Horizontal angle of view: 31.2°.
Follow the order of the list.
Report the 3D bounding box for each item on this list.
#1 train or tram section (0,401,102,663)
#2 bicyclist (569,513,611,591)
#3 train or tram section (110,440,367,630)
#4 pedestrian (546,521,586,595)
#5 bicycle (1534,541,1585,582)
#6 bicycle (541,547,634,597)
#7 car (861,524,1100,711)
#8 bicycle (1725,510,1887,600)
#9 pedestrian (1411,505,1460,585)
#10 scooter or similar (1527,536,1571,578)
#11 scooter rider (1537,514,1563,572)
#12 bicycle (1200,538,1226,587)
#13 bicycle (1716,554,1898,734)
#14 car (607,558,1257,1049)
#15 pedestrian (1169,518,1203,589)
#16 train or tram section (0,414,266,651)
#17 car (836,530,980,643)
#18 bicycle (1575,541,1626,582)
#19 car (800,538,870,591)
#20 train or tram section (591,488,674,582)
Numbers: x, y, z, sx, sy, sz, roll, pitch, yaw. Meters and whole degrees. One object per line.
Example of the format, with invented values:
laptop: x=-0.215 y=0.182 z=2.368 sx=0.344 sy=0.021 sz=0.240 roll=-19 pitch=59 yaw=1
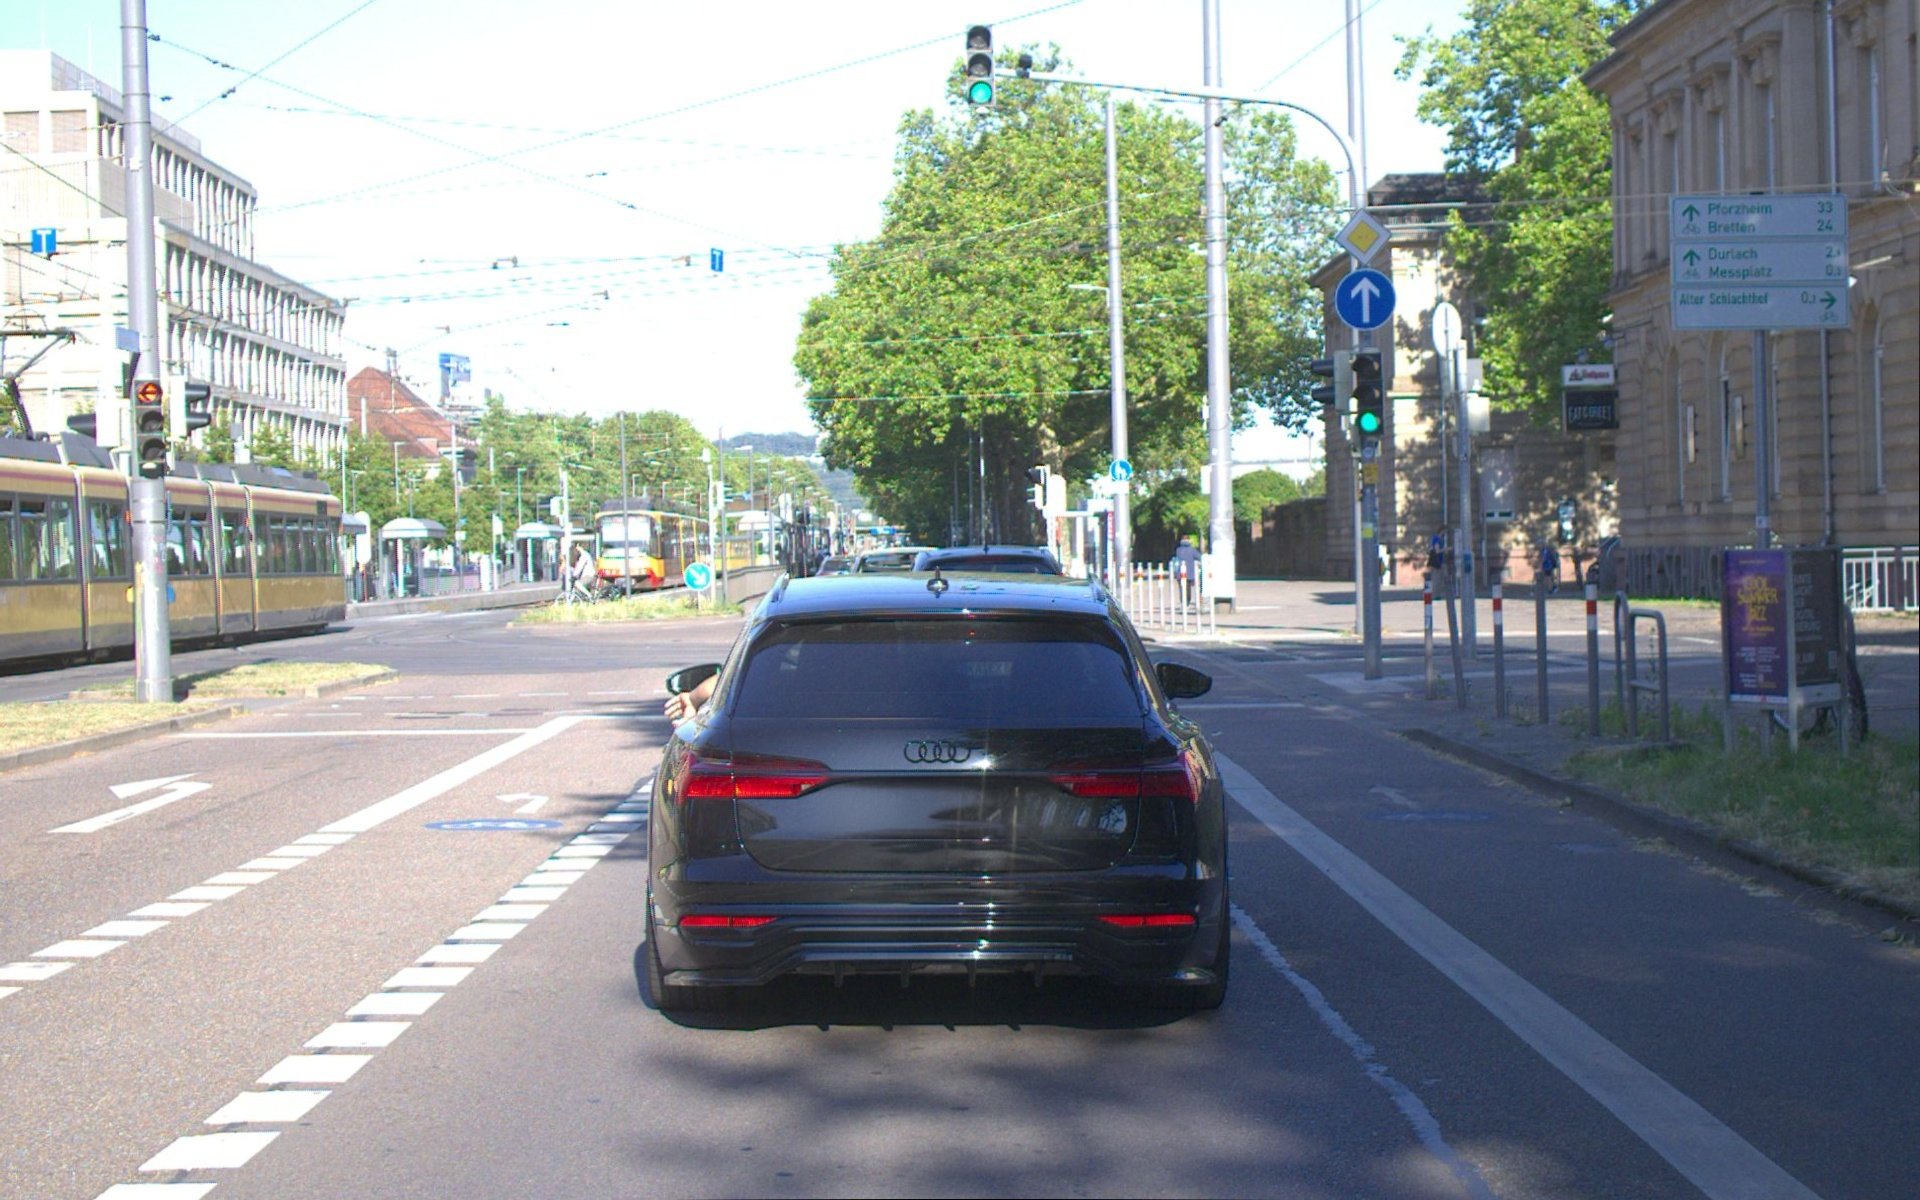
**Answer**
train or tram section: x=-14.099 y=-0.851 z=44.467 sx=2.813 sy=3.477 sz=13.205 roll=-2 pitch=1 yaw=-1
bicyclist: x=-8.691 y=-1.130 z=80.699 sx=0.756 sy=1.812 sz=0.765 roll=-2 pitch=1 yaw=-21
train or tram section: x=-14.540 y=-1.322 z=70.364 sx=2.813 sy=3.477 sz=12.155 roll=-2 pitch=1 yaw=-1
pedestrian: x=-9.404 y=-0.995 z=81.997 sx=0.740 sy=1.735 sz=0.664 roll=-2 pitch=1 yaw=-24
bicycle: x=15.558 y=-1.011 z=89.286 sx=0.526 sy=1.043 sz=2.360 roll=-2 pitch=1 yaw=-9
bicycle: x=-8.743 y=-0.665 z=80.678 sx=2.005 sy=1.104 sz=0.765 roll=-2 pitch=1 yaw=-21
car: x=0.144 y=0.111 z=29.751 sx=1.902 sy=1.481 sz=4.145 roll=1 pitch=1 yaw=-1
bicycle: x=12.424 y=-0.667 z=50.525 sx=2.136 sy=1.205 sz=0.765 roll=-3 pitch=1 yaw=-2
pedestrian: x=11.128 y=-1.288 z=80.528 sx=0.979 sy=1.859 sz=0.827 roll=-2 pitch=1 yaw=-1
scooter or similar: x=14.237 y=-1.040 z=83.132 sx=0.938 sy=0.963 sz=0.361 roll=-3 pitch=0 yaw=-3
scooter rider: x=14.258 y=-1.369 z=83.138 sx=0.484 sy=1.381 sz=0.377 roll=-3 pitch=0 yaw=-3
bicycle: x=5.914 y=-0.883 z=80.356 sx=0.434 sy=1.141 sz=1.340 roll=-2 pitch=1 yaw=-3
bicycle: x=5.256 y=0.251 z=21.421 sx=0.540 sy=1.058 sz=1.772 roll=-2 pitch=1 yaw=-5
car: x=-0.103 y=0.576 z=12.220 sx=1.902 sy=1.417 sz=4.145 roll=1 pitch=1 yaw=-1
pedestrian: x=5.282 y=-1.088 z=80.323 sx=0.682 sy=1.655 sz=0.758 roll=-2 pitch=1 yaw=-3
train or tram section: x=-14.315 y=-1.101 z=57.681 sx=2.813 sy=3.477 sz=13.205 roll=-2 pitch=1 yaw=-1
car: x=-0.719 y=-0.211 z=47.954 sx=1.902 sy=1.481 sz=4.145 roll=1 pitch=1 yaw=-1
bicycle: x=16.624 y=-1.012 z=89.276 sx=0.526 sy=1.043 sz=2.360 roll=-2 pitch=1 yaw=-9
car: x=-3.591 y=-1.042 z=99.636 sx=1.902 sy=1.481 sz=4.145 roll=1 pitch=1 yaw=-1
train or tram section: x=-12.611 y=-2.513 z=133.131 sx=2.608 sy=3.439 sz=11.134 roll=-2 pitch=1 yaw=-3
